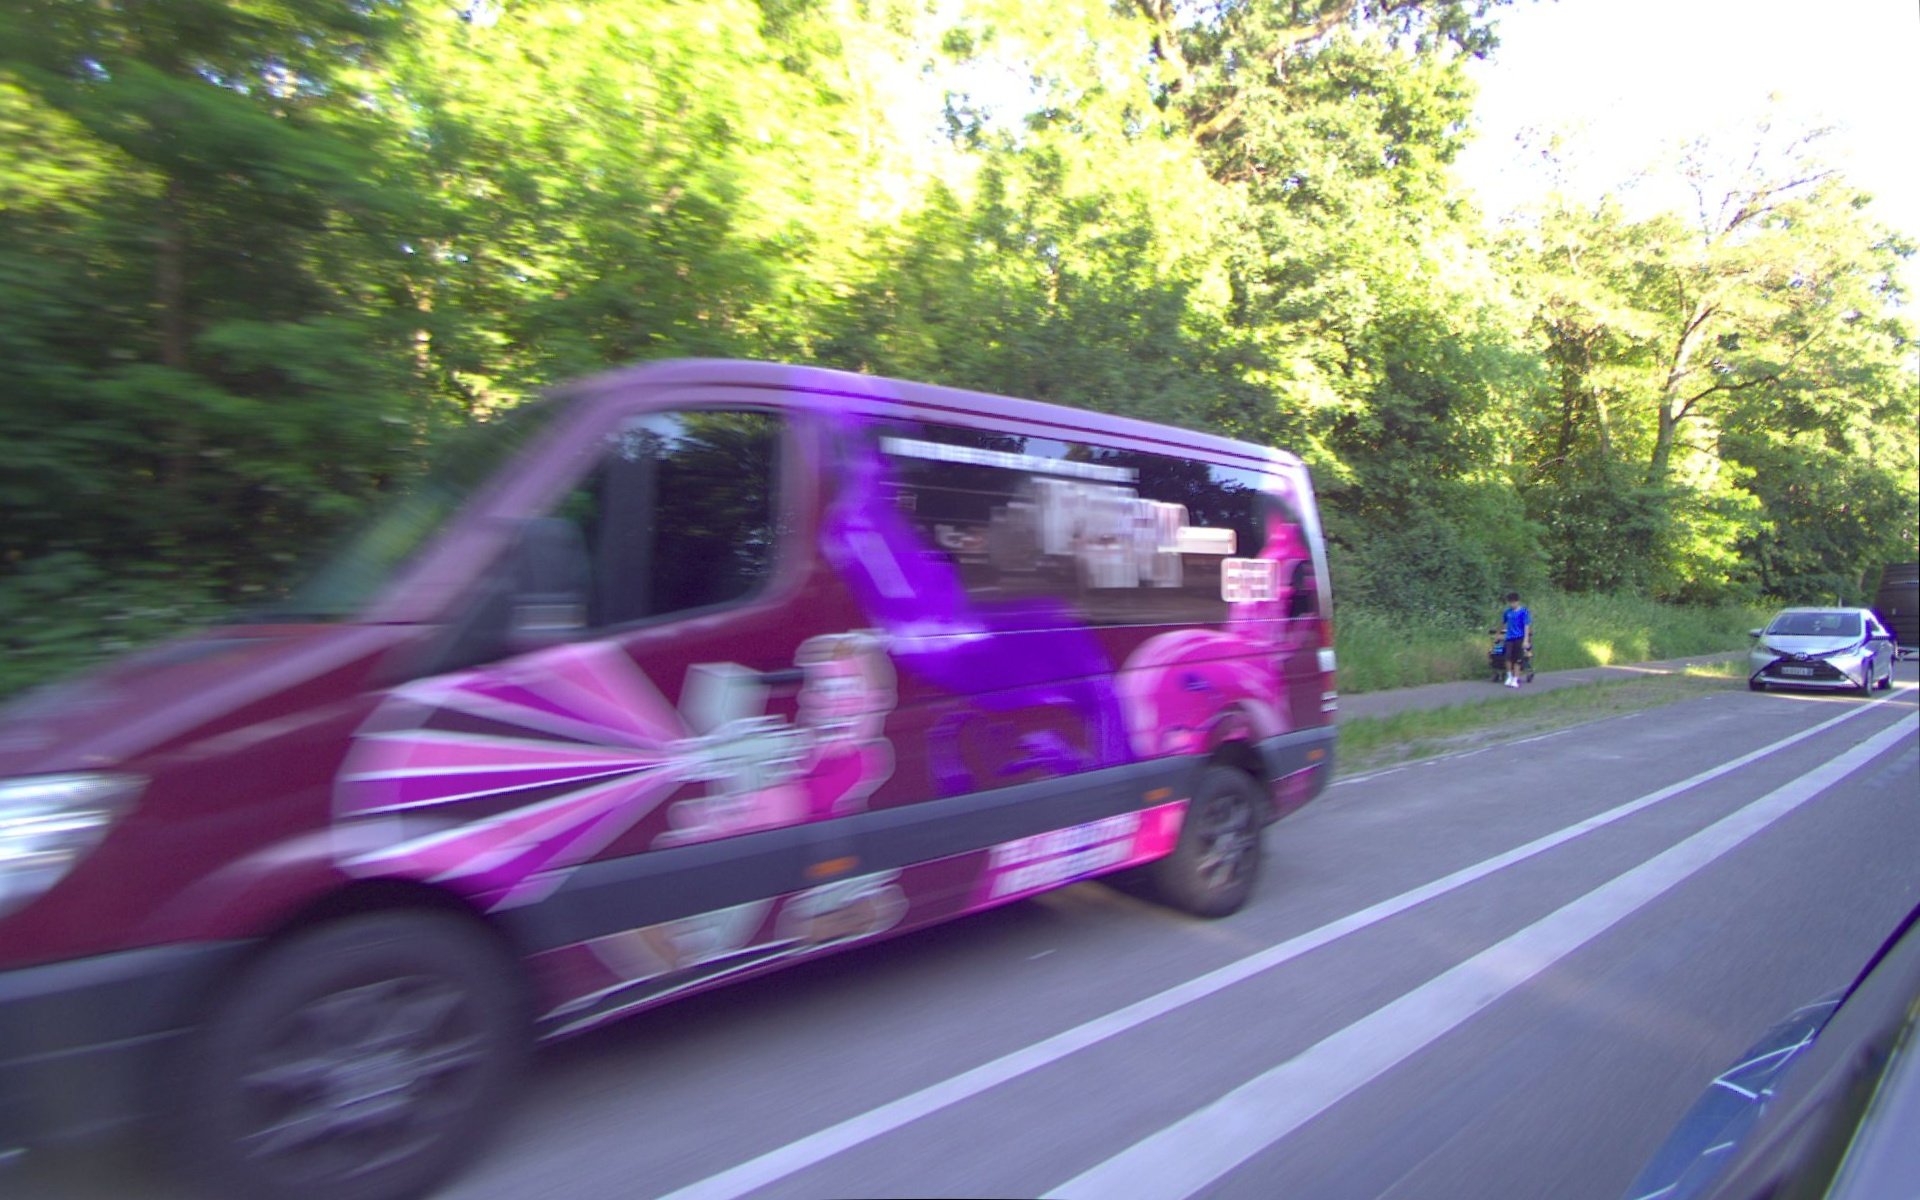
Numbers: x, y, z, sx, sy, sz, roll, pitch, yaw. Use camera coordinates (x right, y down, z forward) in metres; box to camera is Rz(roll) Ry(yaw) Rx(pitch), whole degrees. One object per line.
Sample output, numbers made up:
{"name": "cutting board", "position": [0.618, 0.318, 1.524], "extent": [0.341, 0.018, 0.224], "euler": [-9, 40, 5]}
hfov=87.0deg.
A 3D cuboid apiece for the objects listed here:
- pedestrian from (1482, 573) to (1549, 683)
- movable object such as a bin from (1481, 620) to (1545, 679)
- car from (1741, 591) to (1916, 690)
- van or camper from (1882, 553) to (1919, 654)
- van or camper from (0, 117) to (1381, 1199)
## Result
{"name": "pedestrian", "position": [10.165, 0.497, 18.531], "extent": [0.903, 1.942, 0.769], "euler": [1, 1, -41]}
{"name": "movable object such as a bin", "position": [10.706, 0.935, 19.593], "extent": [0.969, 1.060, 0.791], "euler": [1, 1, -41]}
{"name": "car", "position": [15.431, 0.662, 17.916], "extent": [3.950, 1.565, 1.715], "euler": [1, -1, -40]}
{"name": "van or camper", "position": [29.533, 0.103, 30.332], "extent": [6.449, 2.836, 2.442], "euler": [1, -2, -45]}
{"name": "van or camper", "position": [-0.567, 0.233, 4.439], "extent": [5.936, 2.341, 2.039], "euler": [1, 2, -42]}
